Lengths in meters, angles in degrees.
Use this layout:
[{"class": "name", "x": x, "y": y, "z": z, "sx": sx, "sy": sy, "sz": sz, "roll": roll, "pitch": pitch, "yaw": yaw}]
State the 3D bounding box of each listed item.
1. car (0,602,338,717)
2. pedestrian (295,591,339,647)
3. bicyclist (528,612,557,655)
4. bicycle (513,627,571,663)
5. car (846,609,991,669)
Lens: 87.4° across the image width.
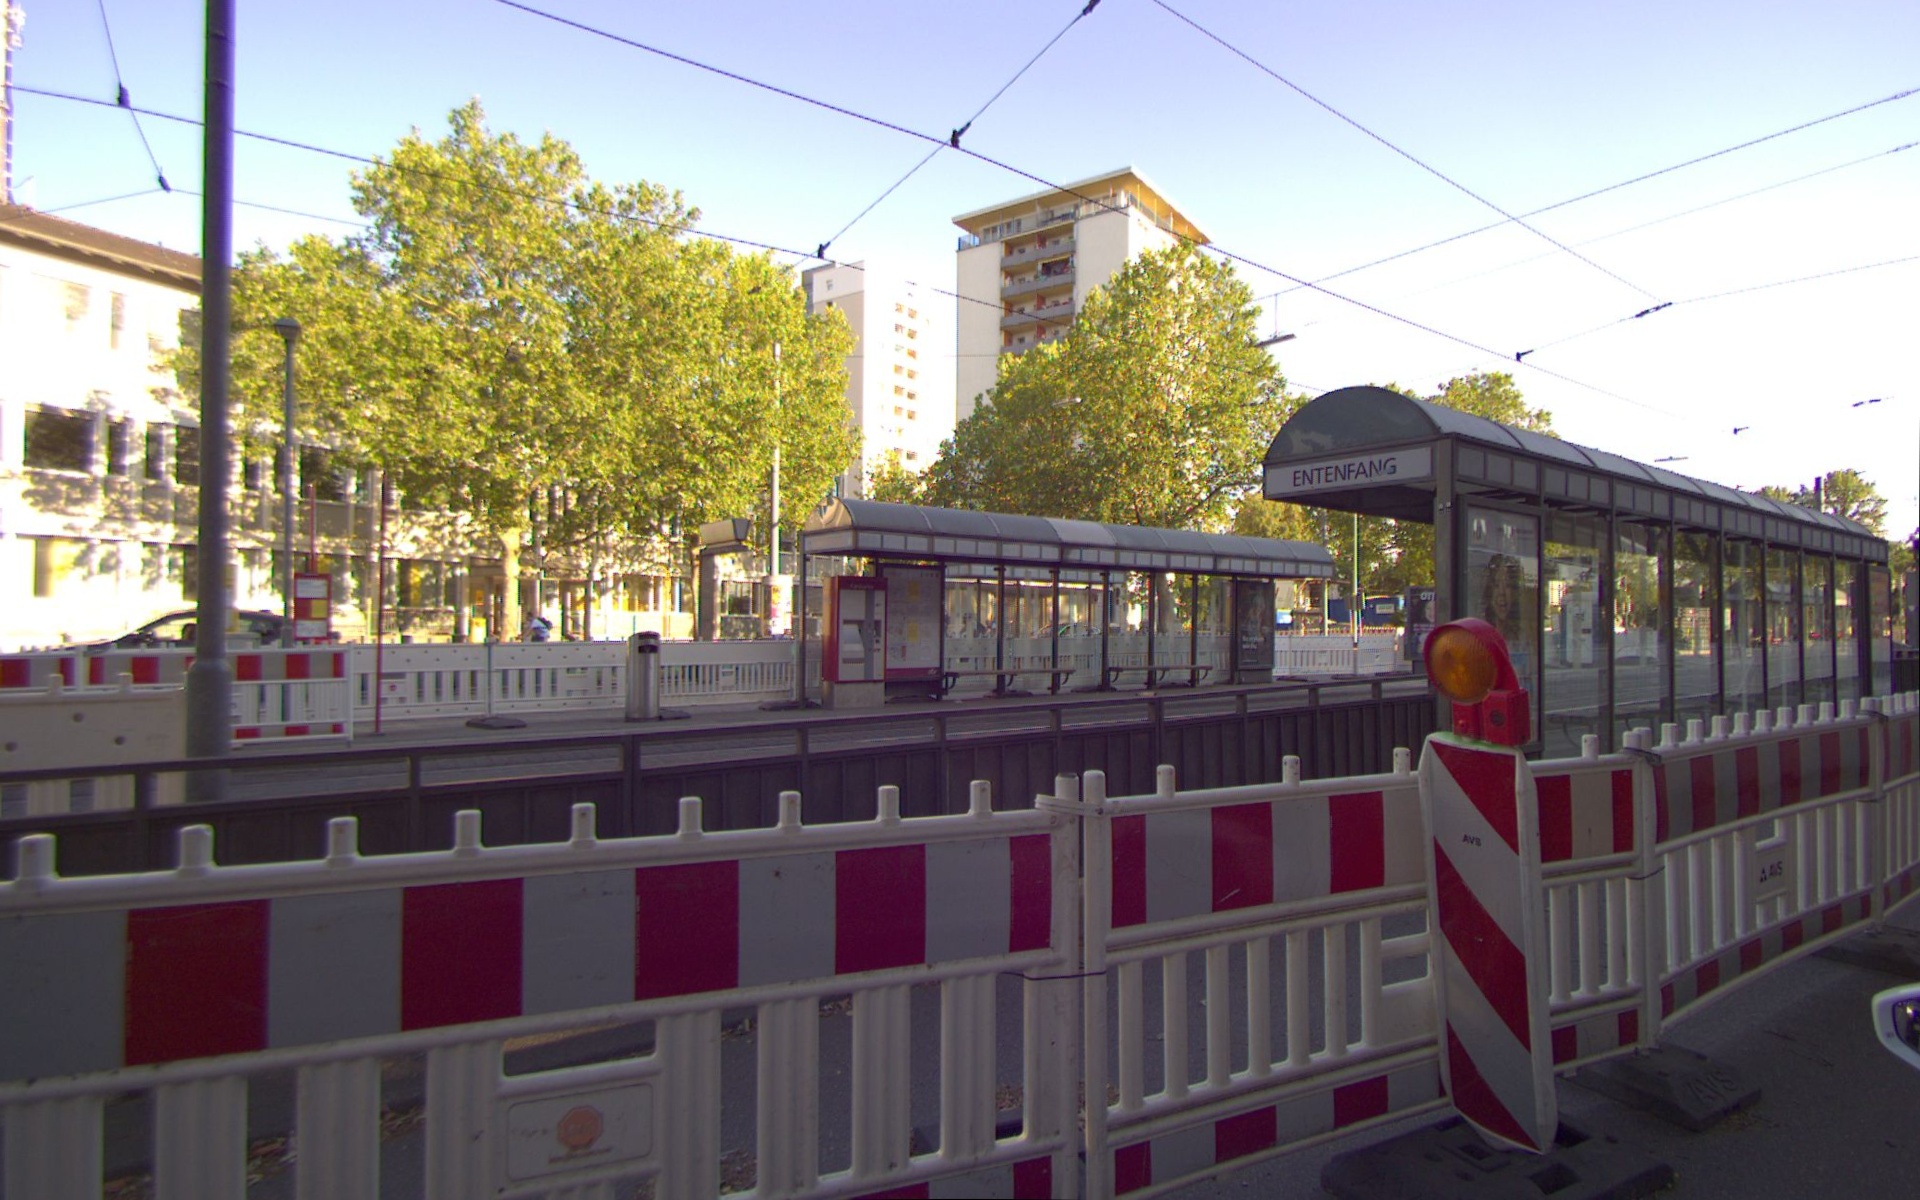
[{"class": "car", "x": -13.311, "y": 0.929, "z": 17.031, "sx": 4.544, "sy": 1.689, "sz": 1.881, "roll": 1, "pitch": 0, "yaw": -37}, {"class": "pedestrian", "x": -20.482, "y": 0.619, "z": 32.017, "sx": 0.793, "sy": 1.751, "sz": 0.884, "roll": 0, "pitch": -1, "yaw": 28}, {"class": "bicyclist", "x": -11.692, "y": 0.927, "z": 28.102, "sx": 0.657, "sy": 1.189, "sz": 0.407, "roll": 1, "pitch": -1, "yaw": -39}, {"class": "bicycle", "x": -11.691, "y": 1.236, "z": 28.102, "sx": 1.450, "sy": 0.980, "sz": 0.407, "roll": 1, "pitch": -1, "yaw": -40}, {"class": "car", "x": -1.099, "y": 1.035, "z": 27.535, "sx": 3.740, "sy": 1.532, "sz": 1.646, "roll": 1, "pitch": -2, "yaw": -38}]
